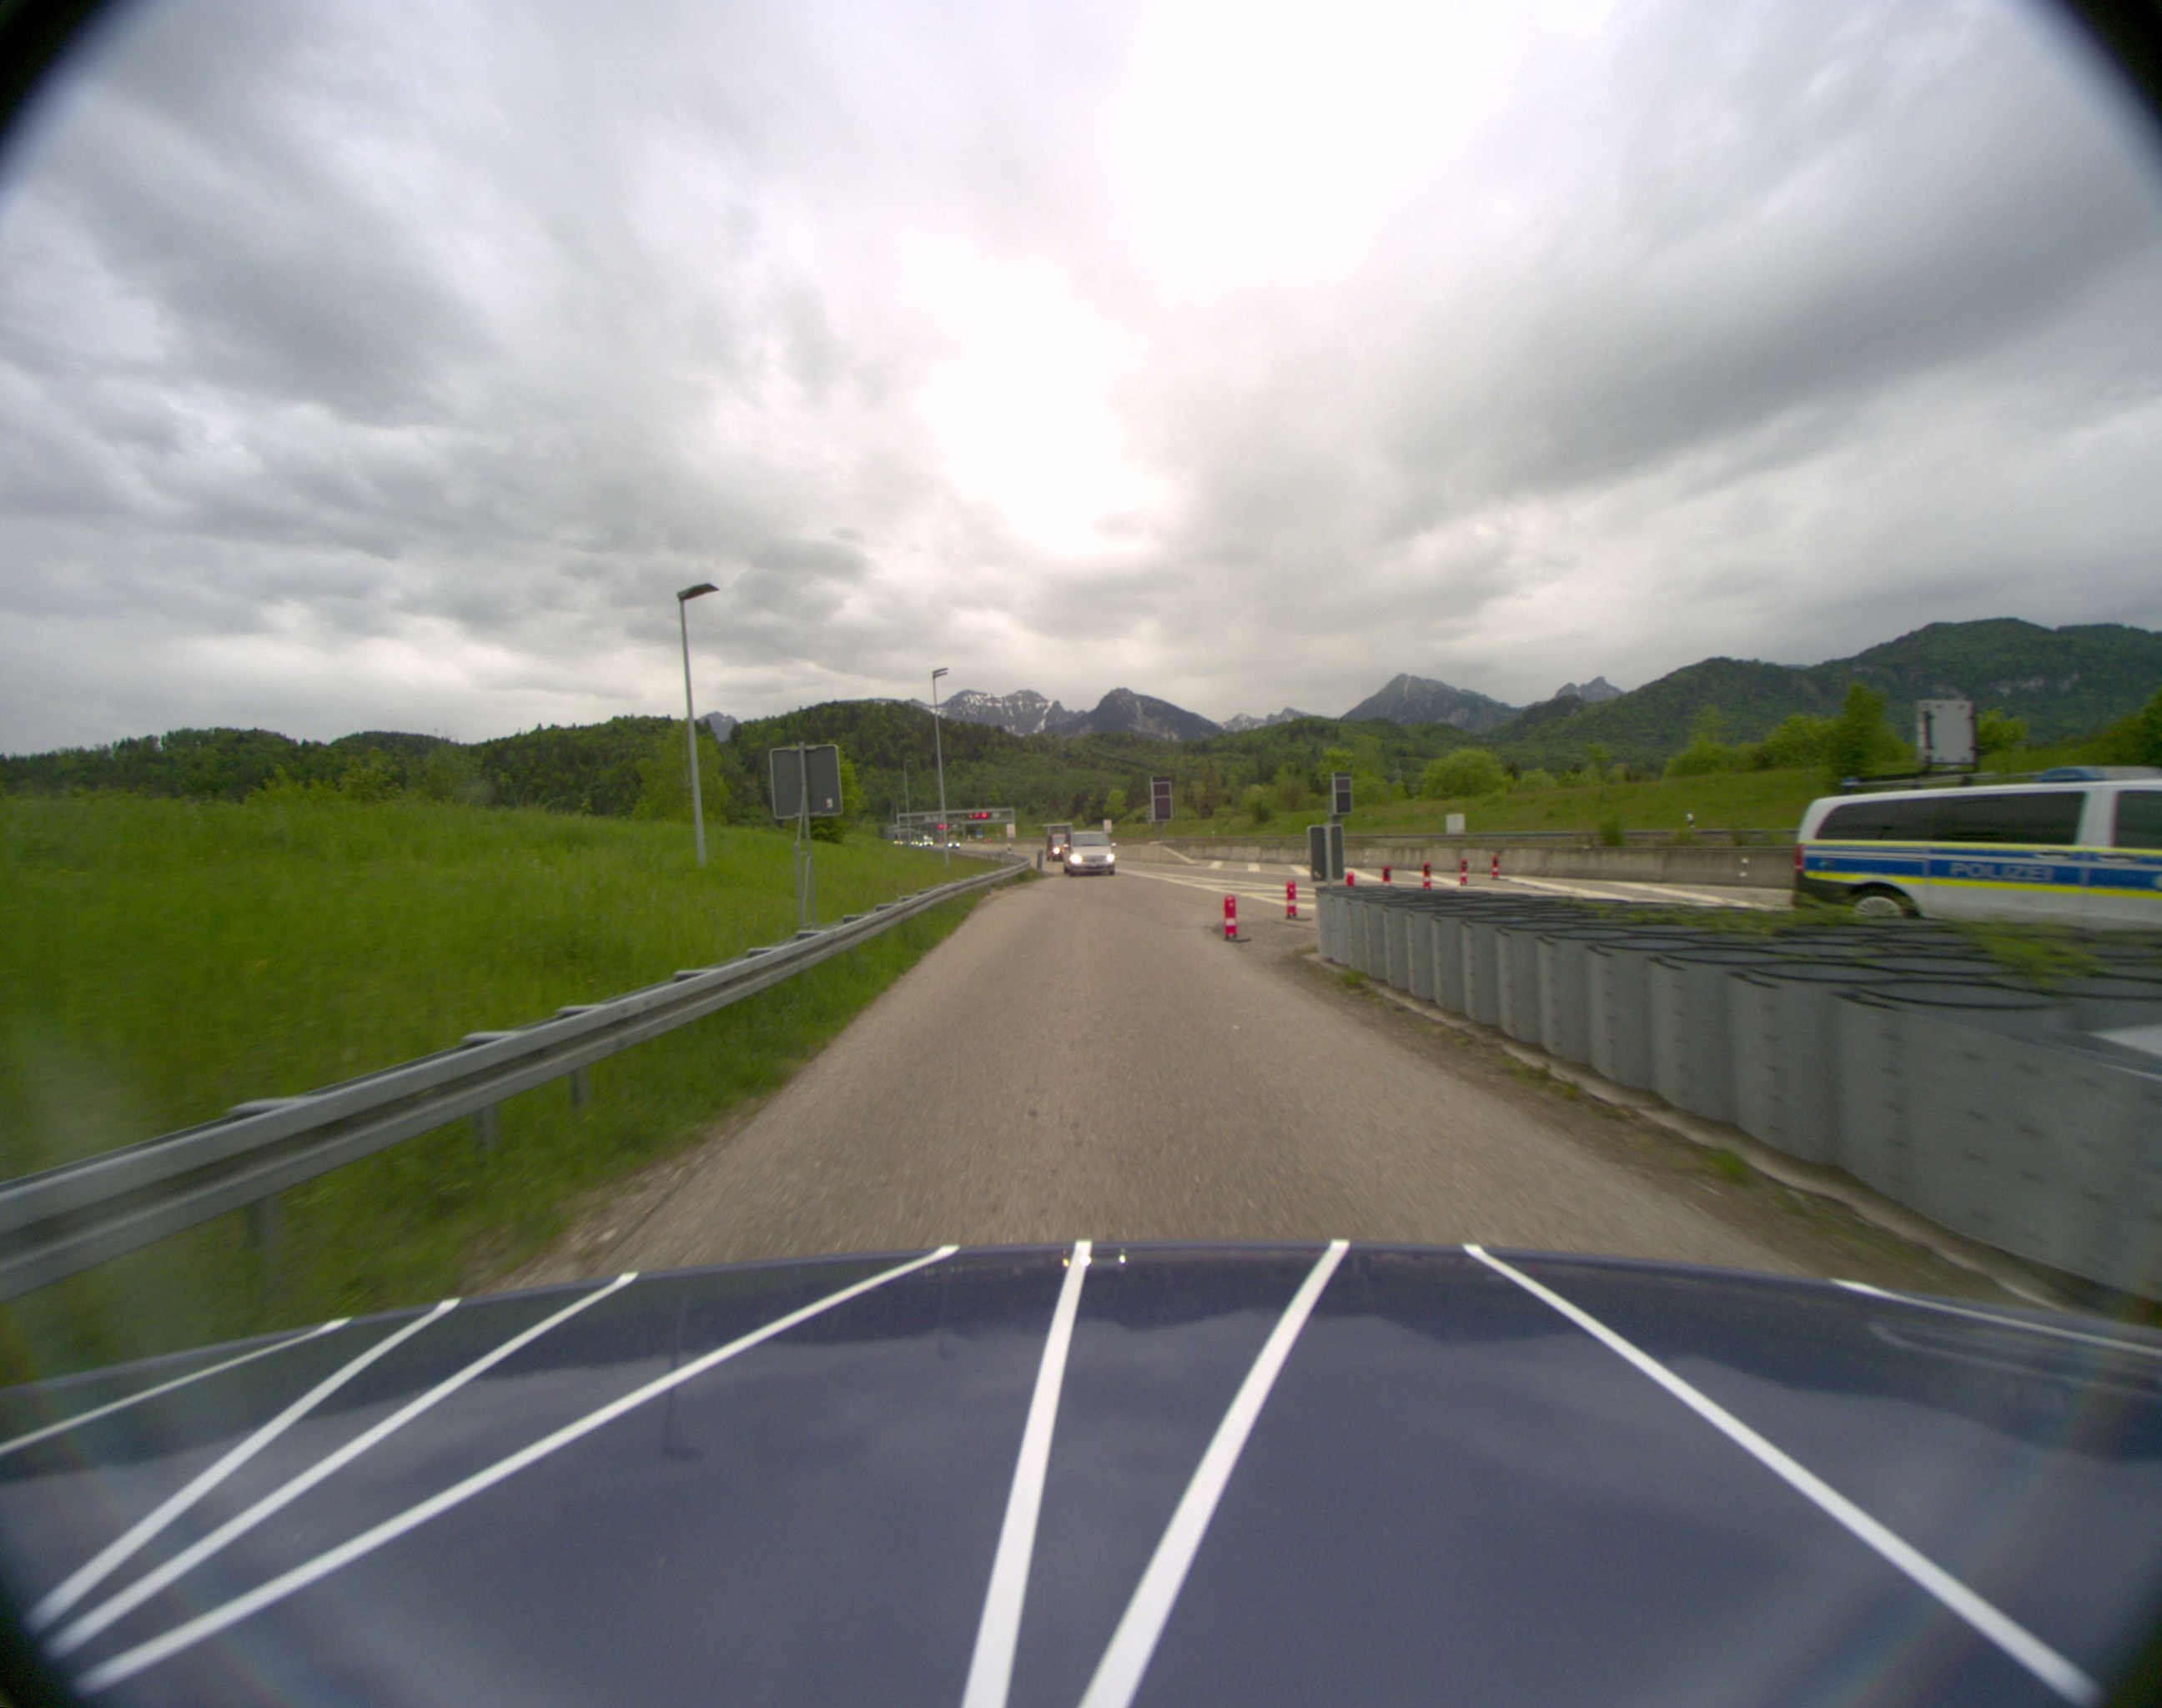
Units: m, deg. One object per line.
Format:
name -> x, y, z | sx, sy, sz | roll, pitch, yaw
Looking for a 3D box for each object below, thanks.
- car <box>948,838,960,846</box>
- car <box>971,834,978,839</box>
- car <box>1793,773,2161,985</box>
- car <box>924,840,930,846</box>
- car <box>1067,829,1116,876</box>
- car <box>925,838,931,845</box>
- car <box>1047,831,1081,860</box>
car -> -22.590, -2.166, 135.233 | 1.665, 1.329, 3.786 | -2, 2, -14
car -> -33.944, -5.587, 241.530 | 1.915, 1.688, 3.492 | -2, 2, -10
car -> 11.209, 0.179, 7.971 | 2.294, 2.002, 5.042 | -2, 2, -13
car -> -48.018, -3.355, 236.916 | 1.632, 1.688, 3.492 | -2, 2, -10
car -> 0.384, -0.130, 33.240 | 1.923, 1.871, 5.136 | -2, 2, -1
car -> -42.517, -3.514, 210.939 | 1.632, 1.688, 3.492 | -2, 2, -10
car -> -1.182, -0.607, 51.049 | 1.757, 1.795, 3.996 | -2, 1, -8
